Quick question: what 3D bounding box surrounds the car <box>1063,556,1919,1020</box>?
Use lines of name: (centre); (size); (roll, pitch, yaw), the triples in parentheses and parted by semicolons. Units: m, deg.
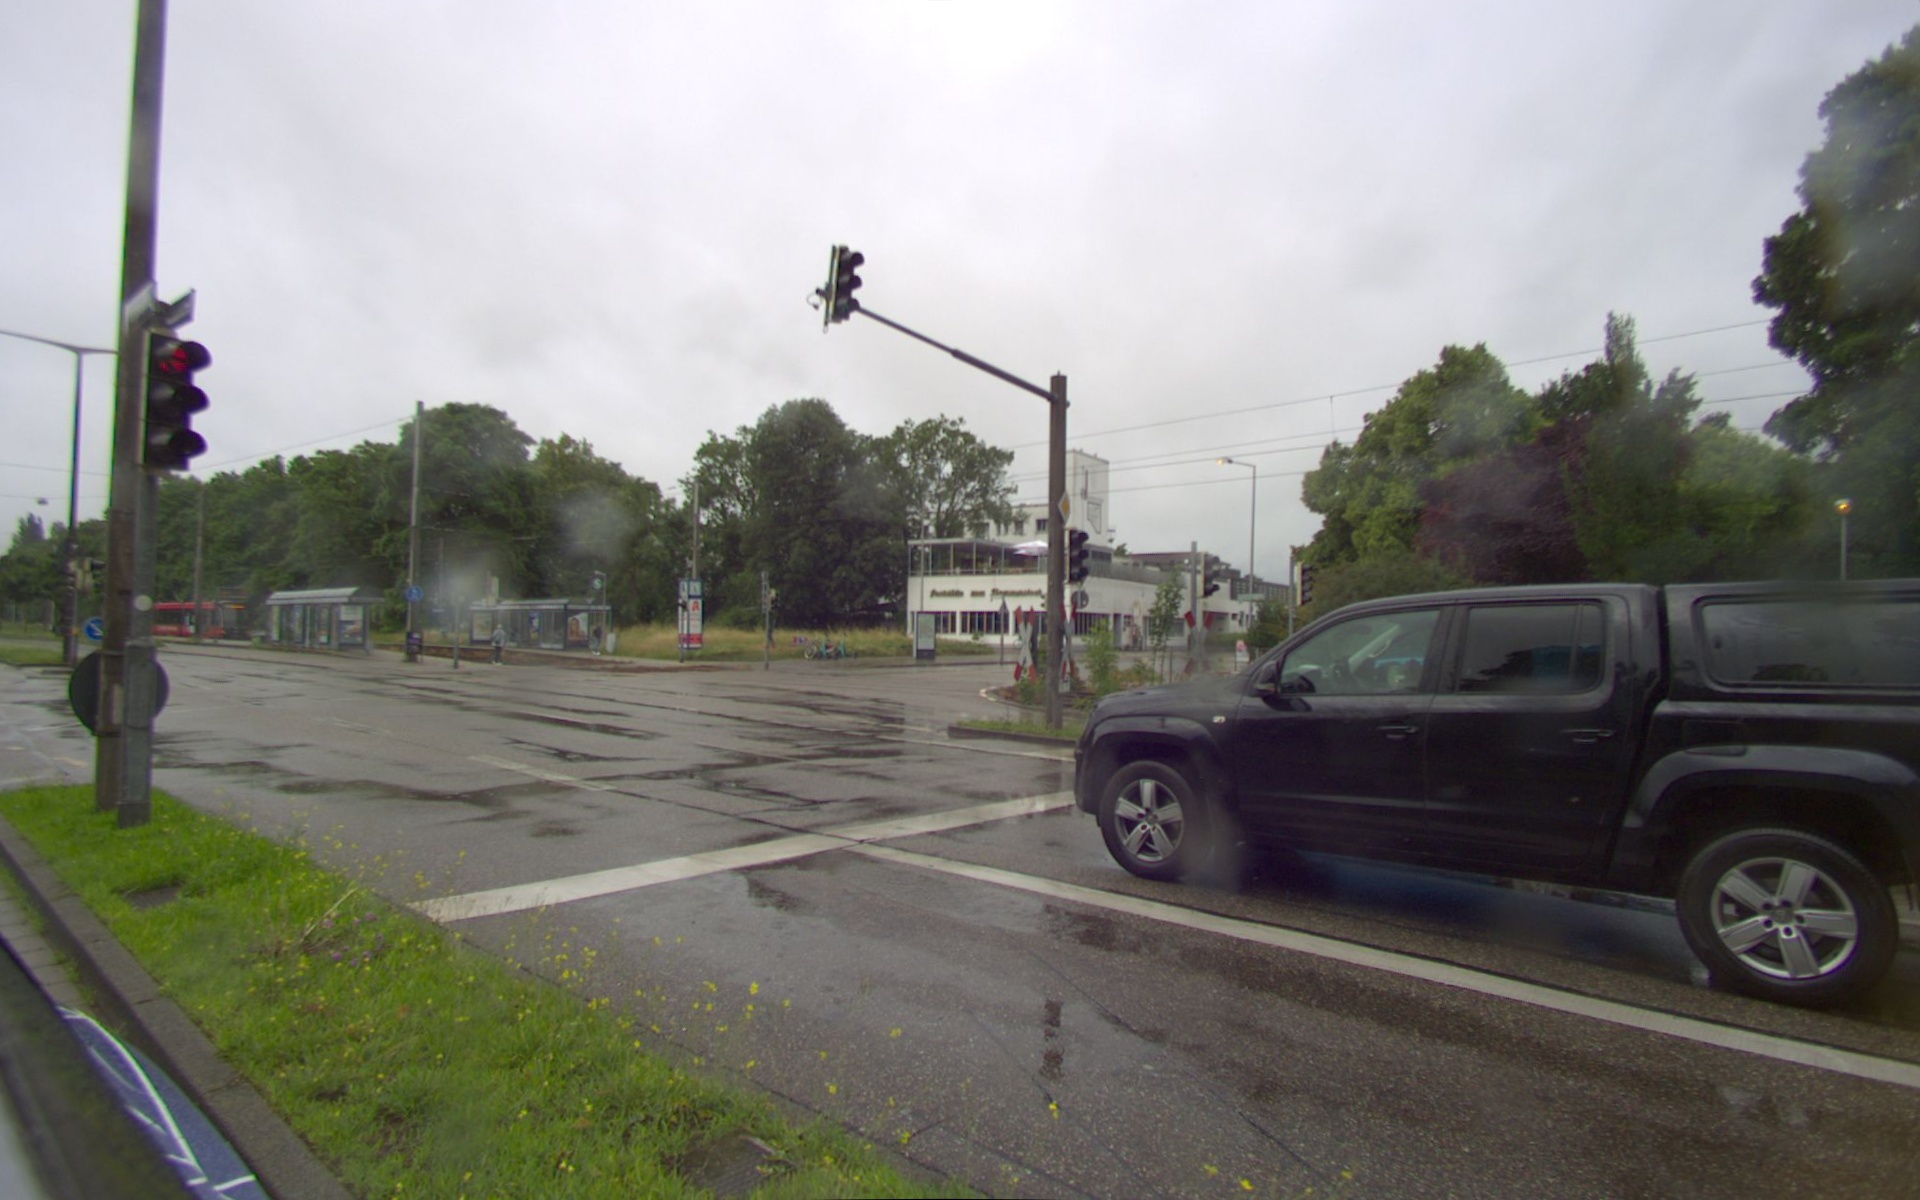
car: (3.177, 0.790, 5.588); (5.086, 1.787, 1.787); (-1, -4, 41)

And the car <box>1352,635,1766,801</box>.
car: (7.946, 1.411, 13.699); (4.526, 1.722, 1.972); (0, 0, 43)

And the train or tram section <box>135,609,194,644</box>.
train or tram section: (-81.782, 2.733, 104.005); (7.901, 3.438, 3.495); (-1, -3, 42)

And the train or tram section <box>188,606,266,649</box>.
train or tram section: (-62.625, 2.340, 86.393); (9.277, 3.415, 3.495); (-1, -3, 42)

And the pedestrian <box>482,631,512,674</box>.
pedestrian: (-18.763, 2.107, 40.997); (0.799, 1.670, 0.776); (0, 0, 24)

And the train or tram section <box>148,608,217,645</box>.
train or tram section: (-75.662, 2.605, 98.381); (10.259, 3.427, 3.495); (-1, -3, 43)

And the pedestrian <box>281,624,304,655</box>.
pedestrian: (-36.084, 2.126, 54.708); (0.929, 1.609, 0.795); (-1, -2, 45)

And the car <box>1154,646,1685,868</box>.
car: (3.903, 1.200, 8.944); (3.996, 1.438, 1.624); (0, -4, 39)

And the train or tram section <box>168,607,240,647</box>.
train or tram section: (-68.939, 2.473, 92.195); (9.277, 3.416, 3.495); (-1, -3, 42)

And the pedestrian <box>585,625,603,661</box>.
pedestrian: (-18.794, 2.189, 52.026); (0.680, 1.806, 0.623); (0, 0, 41)

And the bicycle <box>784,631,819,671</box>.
bicycle: (-7.250, 2.334, 46.292); (1.734, 1.774, 0.633); (-1, -3, 43)
